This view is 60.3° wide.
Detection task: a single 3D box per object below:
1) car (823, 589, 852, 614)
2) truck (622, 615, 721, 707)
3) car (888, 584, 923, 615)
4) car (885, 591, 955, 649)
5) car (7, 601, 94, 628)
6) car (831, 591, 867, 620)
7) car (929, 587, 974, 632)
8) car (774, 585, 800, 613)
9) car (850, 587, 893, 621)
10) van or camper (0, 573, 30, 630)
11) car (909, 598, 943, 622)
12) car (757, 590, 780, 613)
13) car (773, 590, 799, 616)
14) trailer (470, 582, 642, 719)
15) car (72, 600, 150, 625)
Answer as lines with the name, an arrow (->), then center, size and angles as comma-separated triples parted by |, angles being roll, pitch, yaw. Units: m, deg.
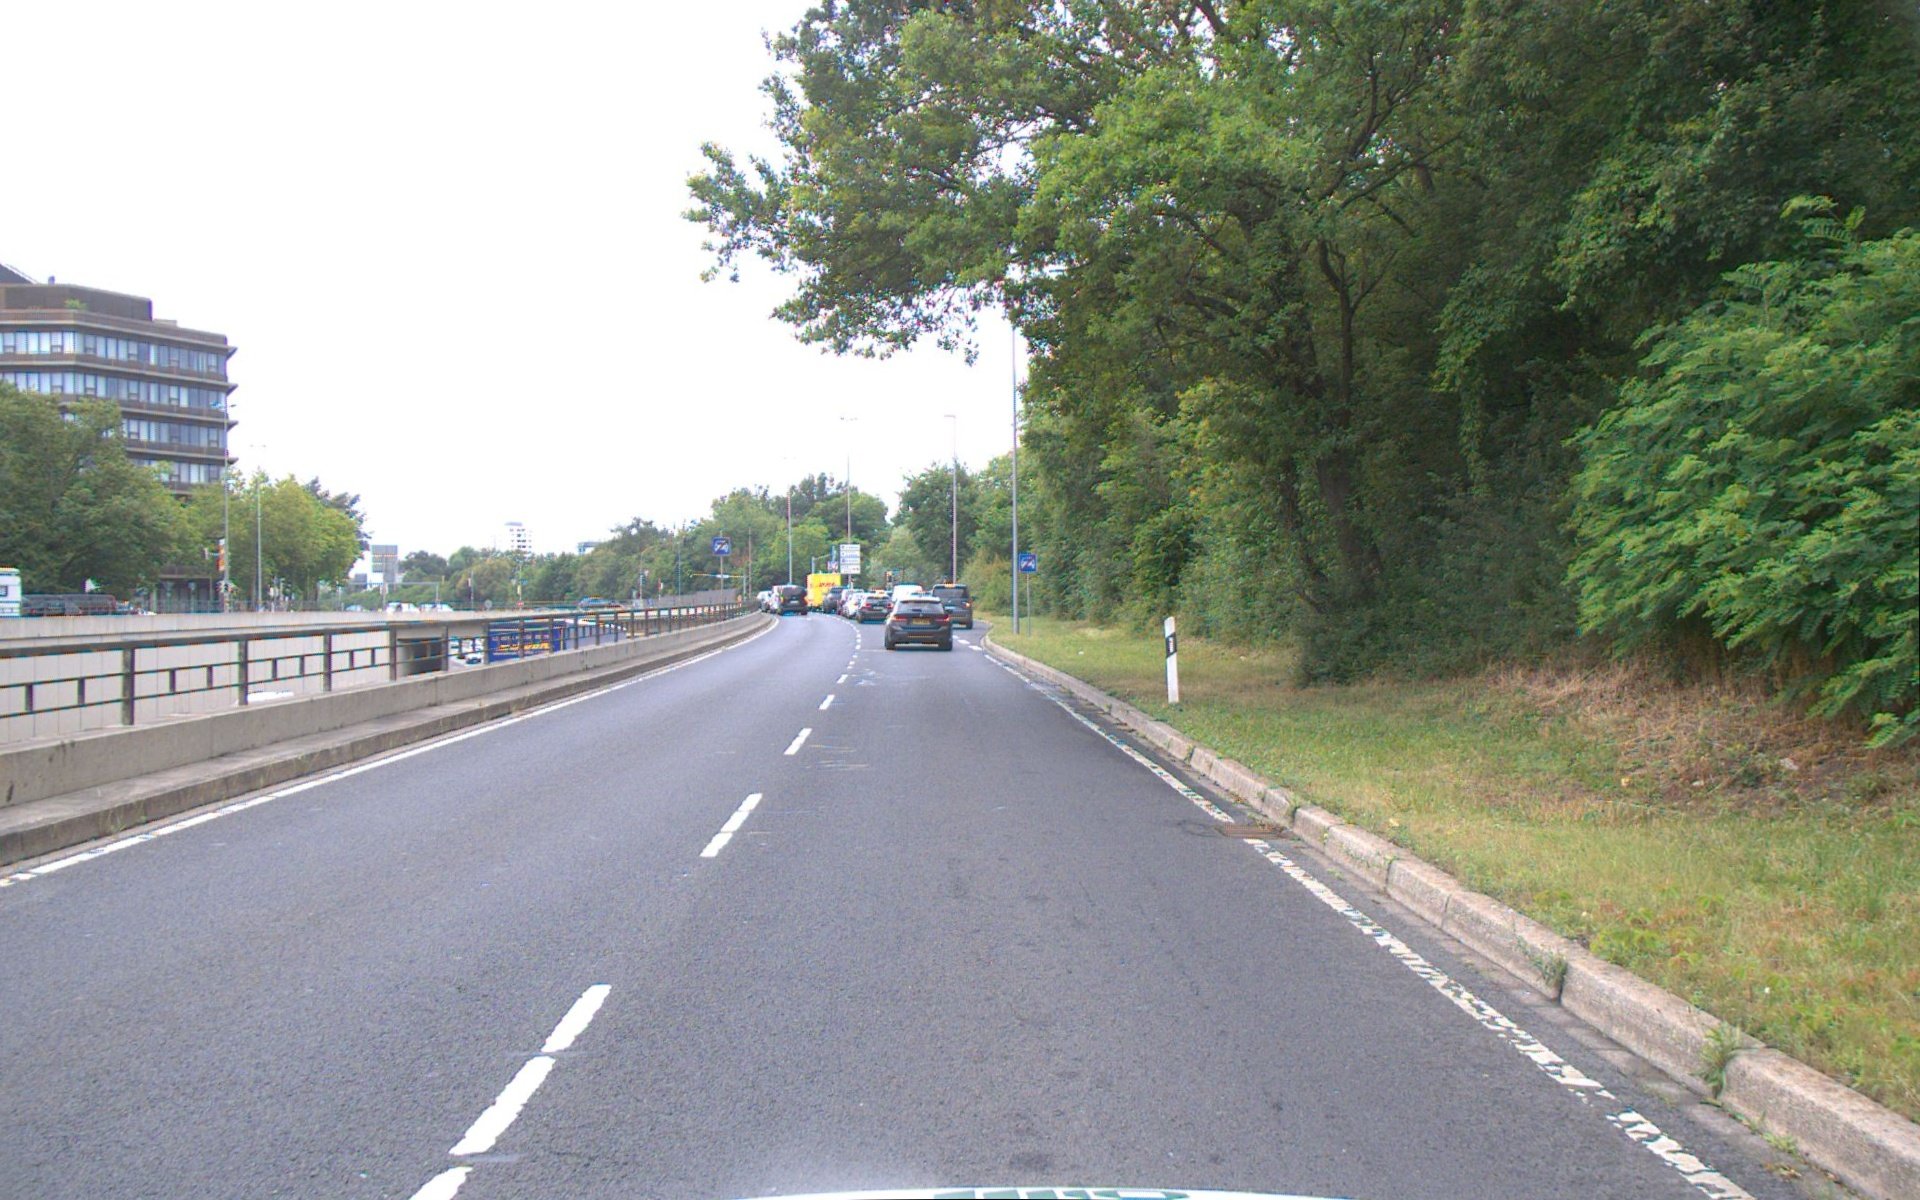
car -> -8.772, 0.124, 117.936 | 1.849, 1.730, 4.423 | 1, 0, -7
truck -> -14.127, 2.826, 82.287 | 2.794, 4.107, 15.569 | -1, -1, -3
car -> -3.579, -0.029, 107.682 | 1.849, 1.912, 4.423 | 1, 0, -7
car -> -1.155, 0.511, 45.471 | 1.714, 1.451, 4.458 | 0, 1, -4
car -> -50.909, 0.840, 92.651 | 1.597, 1.466, 3.983 | 0, -1, 37
car -> -6.457, 0.348, 95.816 | 1.849, 1.620, 4.423 | 1, 0, -7
car -> -0.393, 0.418, 72.530 | 1.860, 1.917, 4.414 | 1, 0, -1
car -> -12.661, -0.050, 120.838 | 1.849, 2.022, 4.423 | 1, 0, -7
car -> -4.386, 0.219, 81.576 | 1.849, 1.620, 4.423 | 1, 0, -7
van or camper -> -49.831, 0.054, 82.216 | 2.109, 2.859, 5.885 | 0, -1, 43
car -> -2.066, 0.575, 98.782 | 1.847, 1.379, 3.997 | 1, 0, -4
car -> -14.916, 0.136, 128.584 | 1.593, 1.731, 4.287 | 1, 0, -9
car -> -11.899, 0.238, 112.892 | 1.593, 1.731, 4.287 | 1, 0, -9
trailer -> -13.835, 1.603, 58.409 | 2.794, 4.107, 15.996 | -1, -1, -3
car -> -51.616, 0.787, 100.604 | 1.597, 1.466, 3.983 | 0, -1, 37
